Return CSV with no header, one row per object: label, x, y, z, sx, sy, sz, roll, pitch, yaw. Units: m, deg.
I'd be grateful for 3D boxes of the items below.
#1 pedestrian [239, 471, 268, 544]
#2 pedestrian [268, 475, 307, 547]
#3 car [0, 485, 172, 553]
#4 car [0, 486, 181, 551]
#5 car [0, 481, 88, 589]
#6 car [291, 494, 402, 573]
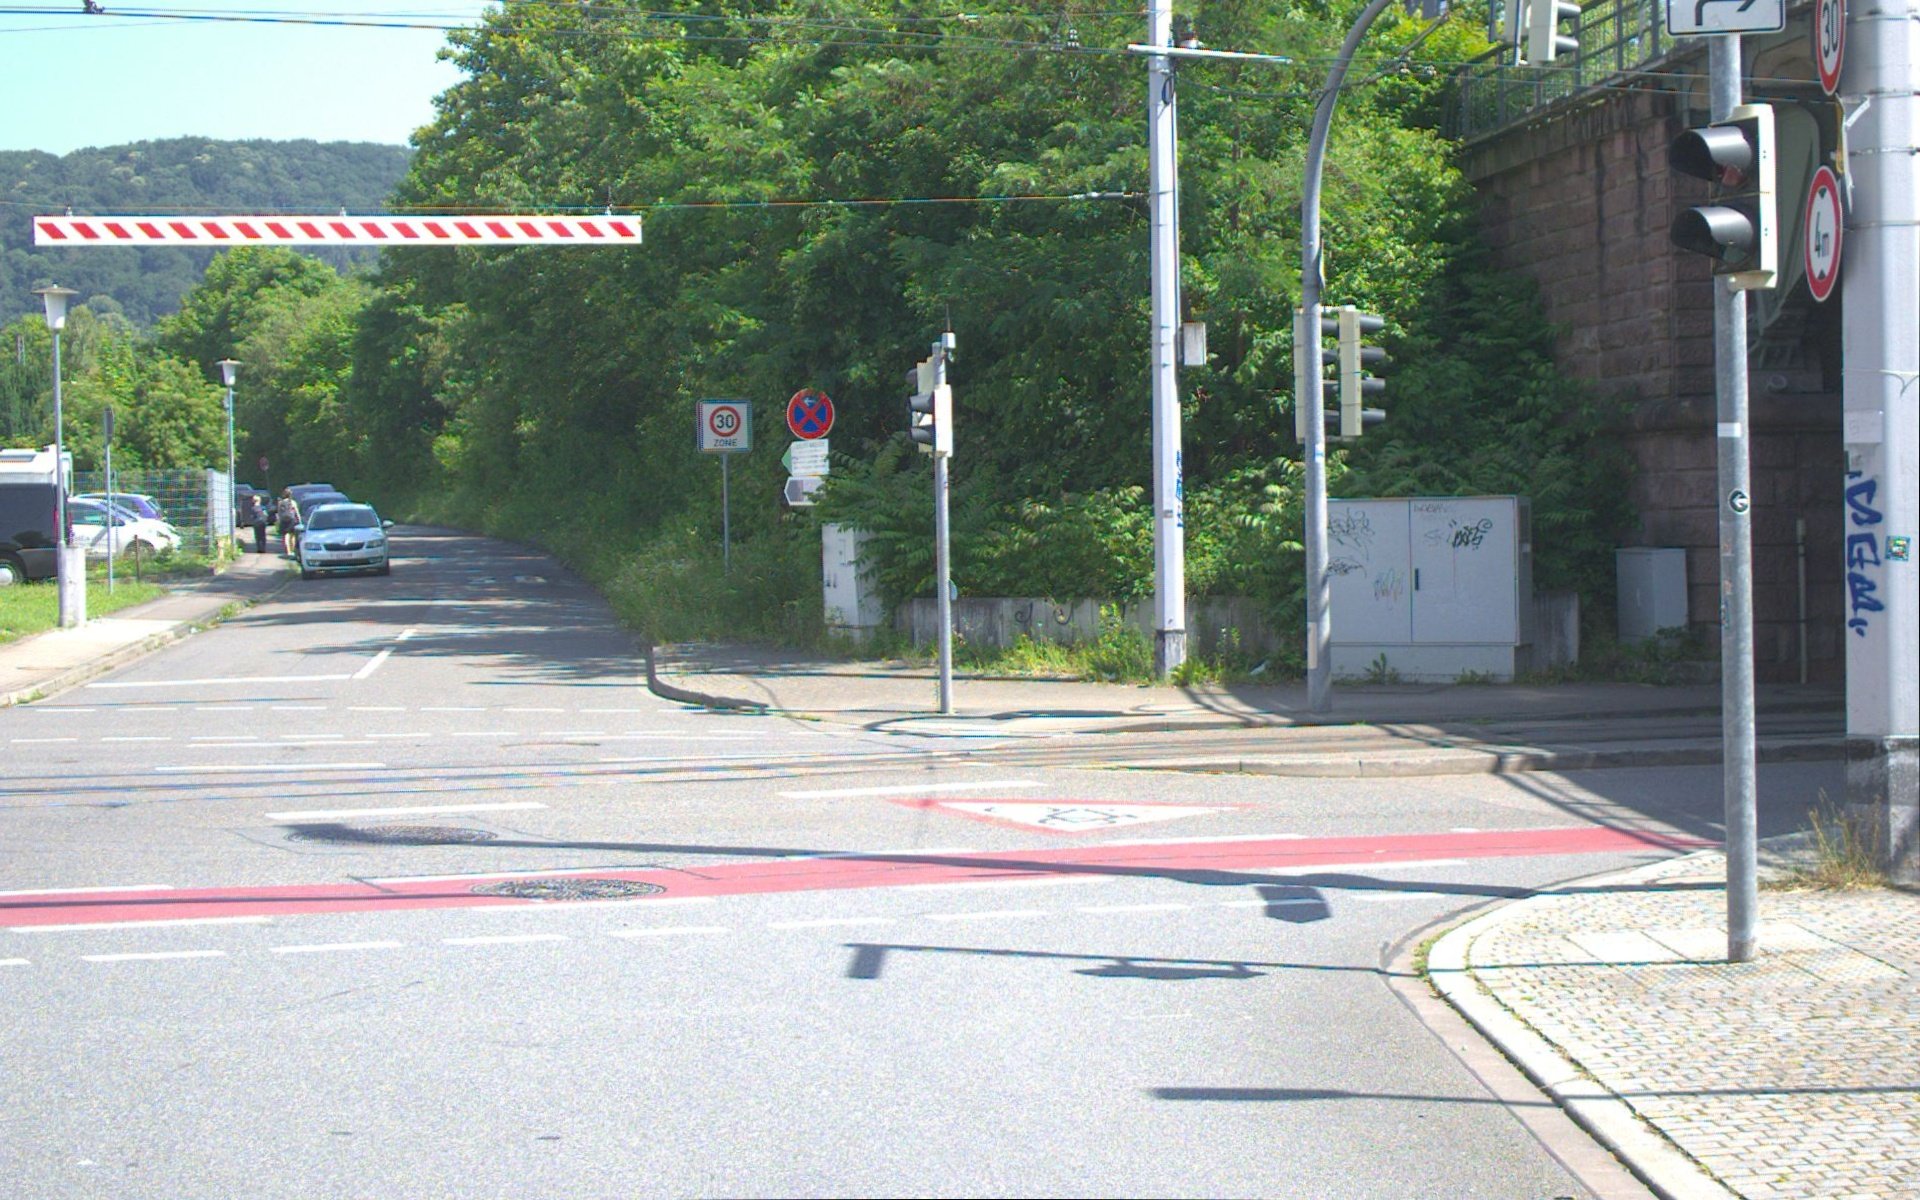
pedestrian,-17.313,-2.258,84.240,0.653,1.757,0.804,1,0,-9
pedestrian,-16.482,-2.177,84.257,0.875,1.757,0.731,1,0,-9
car,-18.910,-1.731,73.813,3.719,1.367,1.605,1,0,-7
car,-19.308,-1.806,76.443,3.719,1.367,1.605,1,1,-7
car,-17.949,-1.085,59.696,5.247,1.810,2.001,-2,2,-9
car,-12.658,-1.405,71.184,2.086,1.505,4.541,1,2,-8
